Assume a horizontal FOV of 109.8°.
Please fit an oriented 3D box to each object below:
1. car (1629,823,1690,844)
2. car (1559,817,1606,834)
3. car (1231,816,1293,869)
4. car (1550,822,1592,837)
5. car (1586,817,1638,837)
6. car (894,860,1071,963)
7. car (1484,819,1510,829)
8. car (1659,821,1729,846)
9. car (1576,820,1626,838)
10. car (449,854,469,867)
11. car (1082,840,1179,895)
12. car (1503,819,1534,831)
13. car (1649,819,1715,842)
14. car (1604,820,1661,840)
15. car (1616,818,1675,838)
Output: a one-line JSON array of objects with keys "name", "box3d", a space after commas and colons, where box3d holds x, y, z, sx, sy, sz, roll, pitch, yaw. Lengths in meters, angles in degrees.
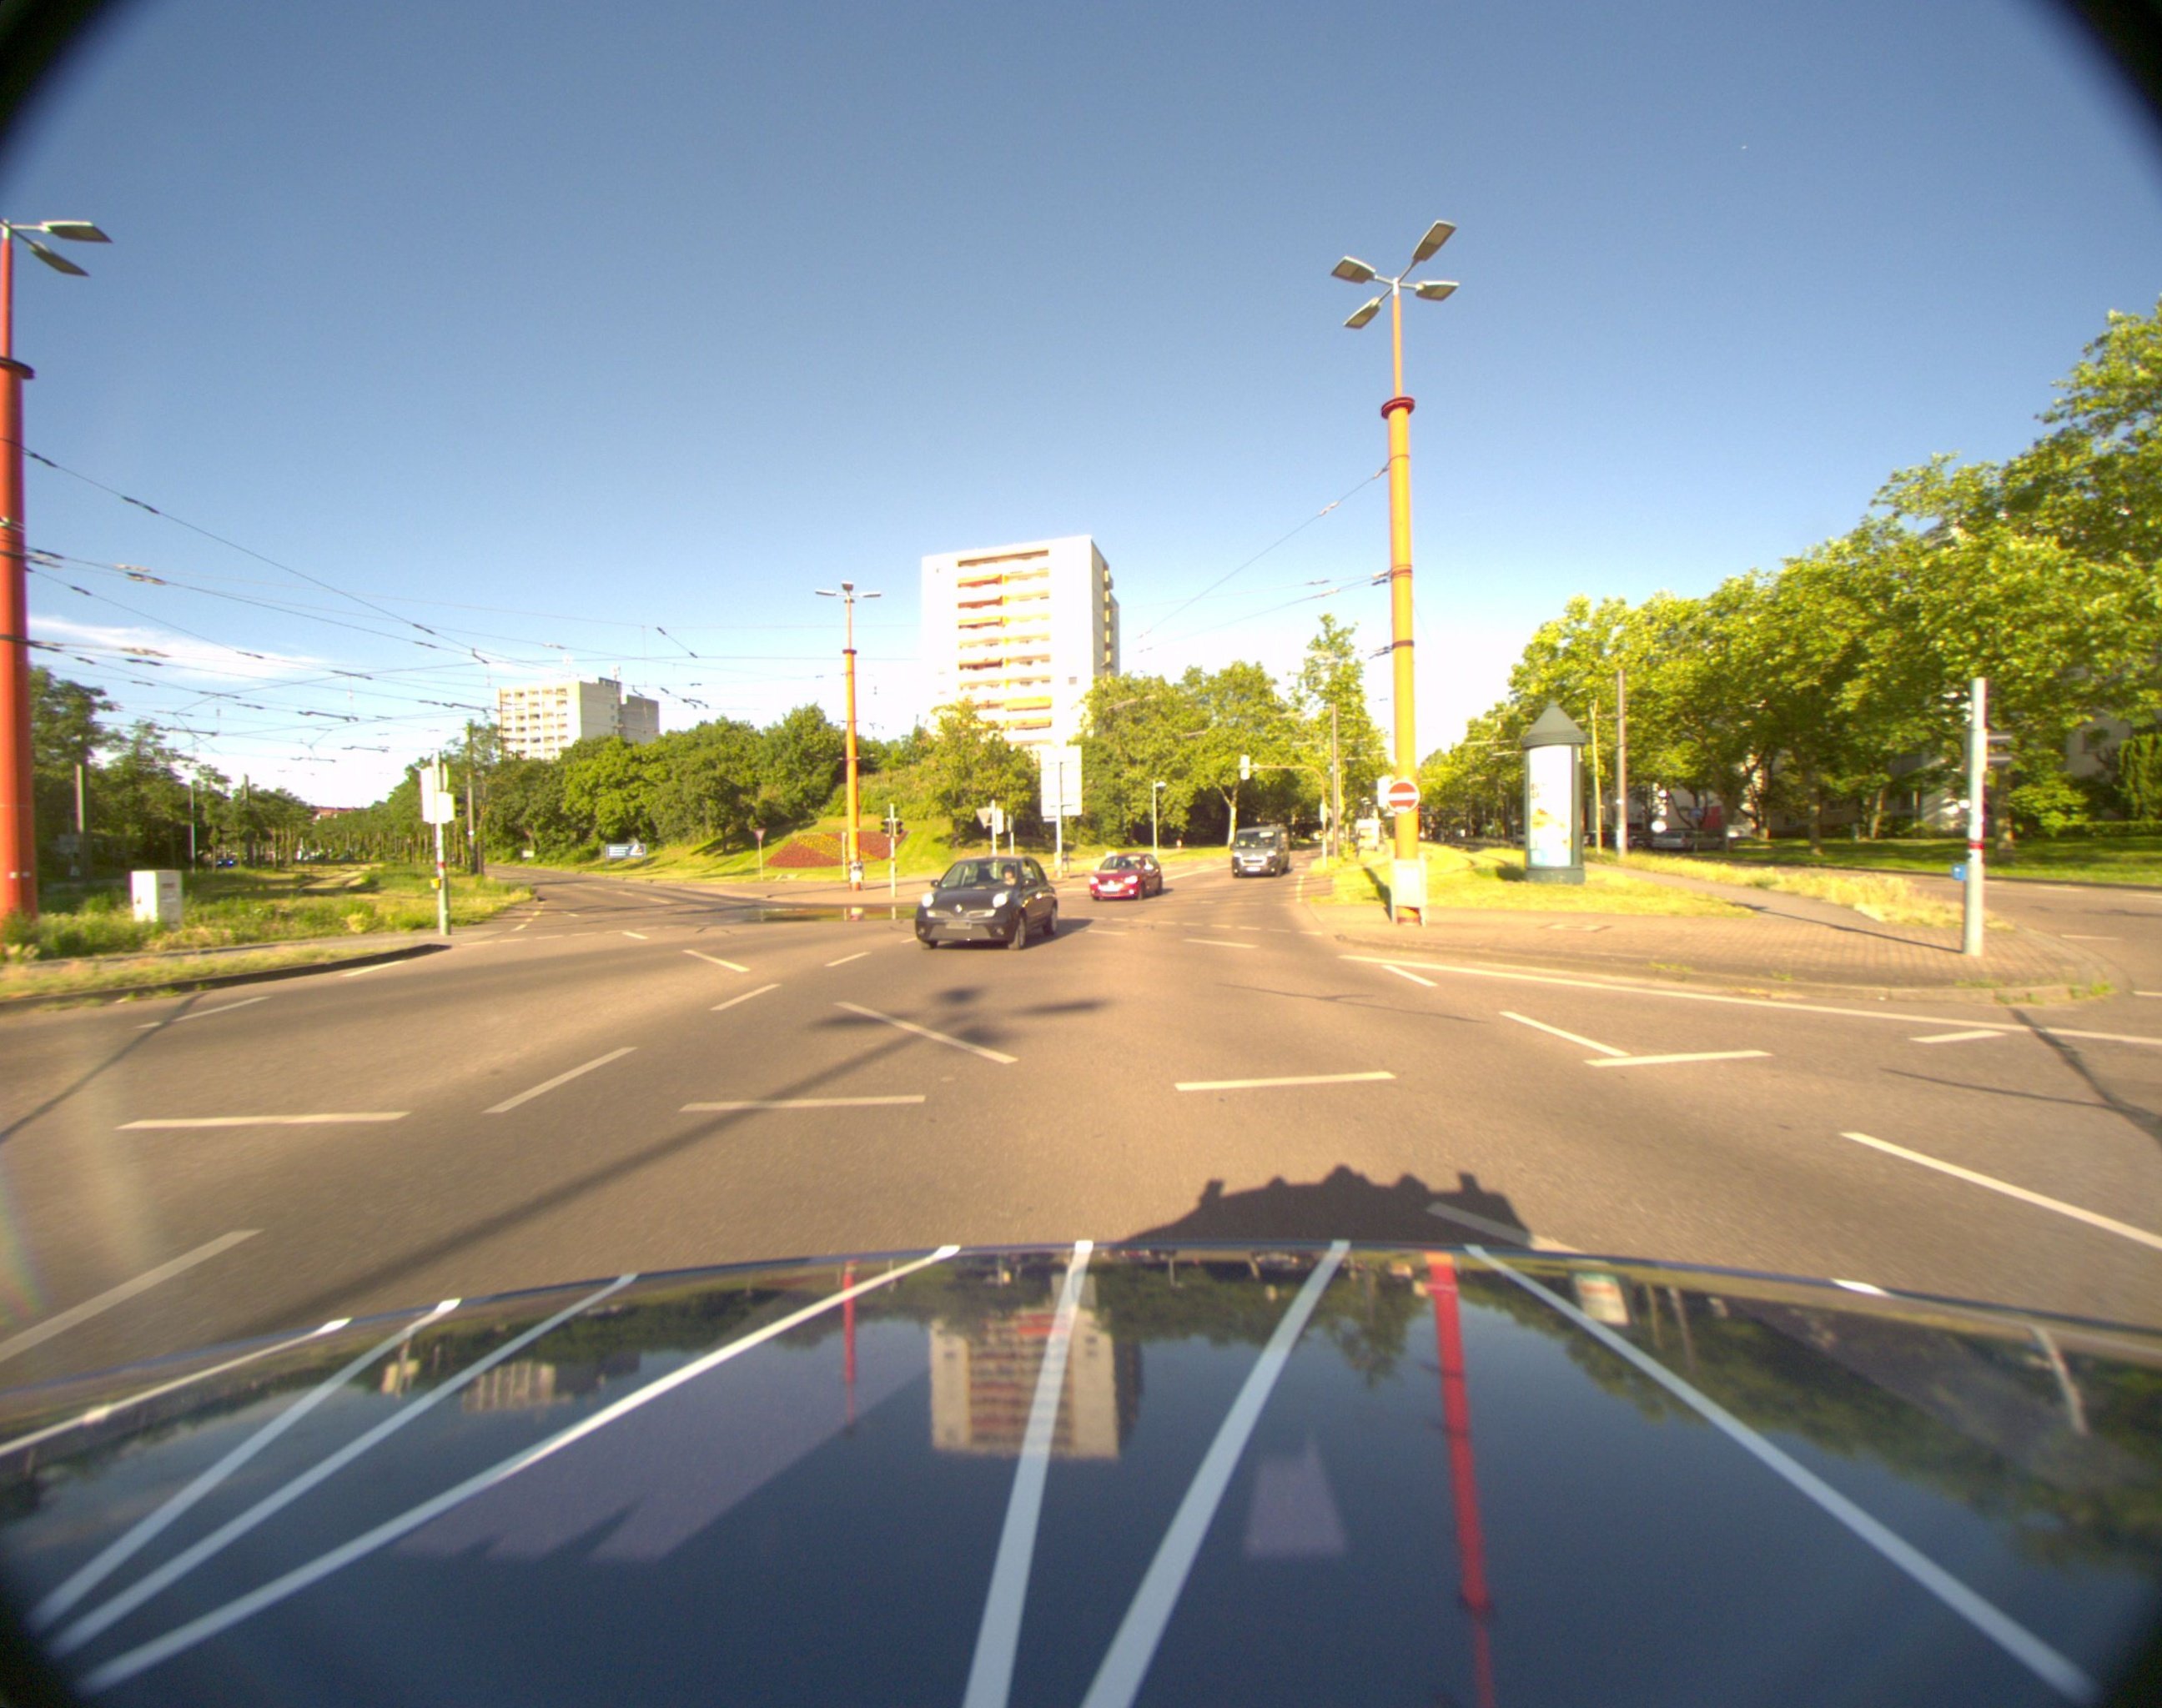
[{"name": "car", "box3d": [43.138, -1.501, 56.659, 4.053, 1.380, 1.674, -3, 1, -20]}, {"name": "car", "box3d": [50.458, -2.860, 76.424, 4.052, 1.490, 1.793, -3, 1, -19]}, {"name": "car", "box3d": [8.356, -0.570, 34.752, 2.037, 2.192, 5.668, -1, 2, 20]}, {"name": "car", "box3d": [53.581, -2.692, 83.141, 4.053, 1.490, 1.792, -3, 1, -22]}, {"name": "car", "box3d": [48.406, -2.462, 69.250, 4.052, 1.654, 1.792, -3, 1, -19]}, {"name": "car", "box3d": [-1.477, 0.861, 13.341, 1.738, 1.474, 4.626, -1, -1, 10]}, {"name": "car", "box3d": [72.187, -5.251, 131.916, 4.053, 1.490, 1.792, -3, 1, -22]}, {"name": "car", "box3d": [40.664, -1.378, 50.420, 4.053, 1.478, 1.811, -3, 1, -20]}, {"name": "car", "box3d": [49.664, -2.383, 72.596, 4.052, 1.490, 1.793, -3, 1, -19]}, {"name": "car", "box3d": [-89.168, 0.894, 108.942, 2.003, 1.695, 4.680, -4, 3, -39]}, {"name": "car", "box3d": [1.743, 0.388, 25.013, 1.769, 1.549, 4.732, -1, 2, 21]}, {"name": "car", "box3d": [64.763, -4.272, 112.498, 4.053, 1.490, 1.792, -3, 1, -22]}, {"name": "car", "box3d": [42.528, -1.654, 53.777, 4.053, 1.478, 1.761, -3, 1, -20]}, {"name": "car", "box3d": [45.579, -2.006, 62.786, 4.052, 1.490, 1.793, -3, 1, -19]}, {"name": "car", "box3d": [44.495, -2.057, 59.869, 4.053, 1.380, 1.792, -3, 1, -20]}]
